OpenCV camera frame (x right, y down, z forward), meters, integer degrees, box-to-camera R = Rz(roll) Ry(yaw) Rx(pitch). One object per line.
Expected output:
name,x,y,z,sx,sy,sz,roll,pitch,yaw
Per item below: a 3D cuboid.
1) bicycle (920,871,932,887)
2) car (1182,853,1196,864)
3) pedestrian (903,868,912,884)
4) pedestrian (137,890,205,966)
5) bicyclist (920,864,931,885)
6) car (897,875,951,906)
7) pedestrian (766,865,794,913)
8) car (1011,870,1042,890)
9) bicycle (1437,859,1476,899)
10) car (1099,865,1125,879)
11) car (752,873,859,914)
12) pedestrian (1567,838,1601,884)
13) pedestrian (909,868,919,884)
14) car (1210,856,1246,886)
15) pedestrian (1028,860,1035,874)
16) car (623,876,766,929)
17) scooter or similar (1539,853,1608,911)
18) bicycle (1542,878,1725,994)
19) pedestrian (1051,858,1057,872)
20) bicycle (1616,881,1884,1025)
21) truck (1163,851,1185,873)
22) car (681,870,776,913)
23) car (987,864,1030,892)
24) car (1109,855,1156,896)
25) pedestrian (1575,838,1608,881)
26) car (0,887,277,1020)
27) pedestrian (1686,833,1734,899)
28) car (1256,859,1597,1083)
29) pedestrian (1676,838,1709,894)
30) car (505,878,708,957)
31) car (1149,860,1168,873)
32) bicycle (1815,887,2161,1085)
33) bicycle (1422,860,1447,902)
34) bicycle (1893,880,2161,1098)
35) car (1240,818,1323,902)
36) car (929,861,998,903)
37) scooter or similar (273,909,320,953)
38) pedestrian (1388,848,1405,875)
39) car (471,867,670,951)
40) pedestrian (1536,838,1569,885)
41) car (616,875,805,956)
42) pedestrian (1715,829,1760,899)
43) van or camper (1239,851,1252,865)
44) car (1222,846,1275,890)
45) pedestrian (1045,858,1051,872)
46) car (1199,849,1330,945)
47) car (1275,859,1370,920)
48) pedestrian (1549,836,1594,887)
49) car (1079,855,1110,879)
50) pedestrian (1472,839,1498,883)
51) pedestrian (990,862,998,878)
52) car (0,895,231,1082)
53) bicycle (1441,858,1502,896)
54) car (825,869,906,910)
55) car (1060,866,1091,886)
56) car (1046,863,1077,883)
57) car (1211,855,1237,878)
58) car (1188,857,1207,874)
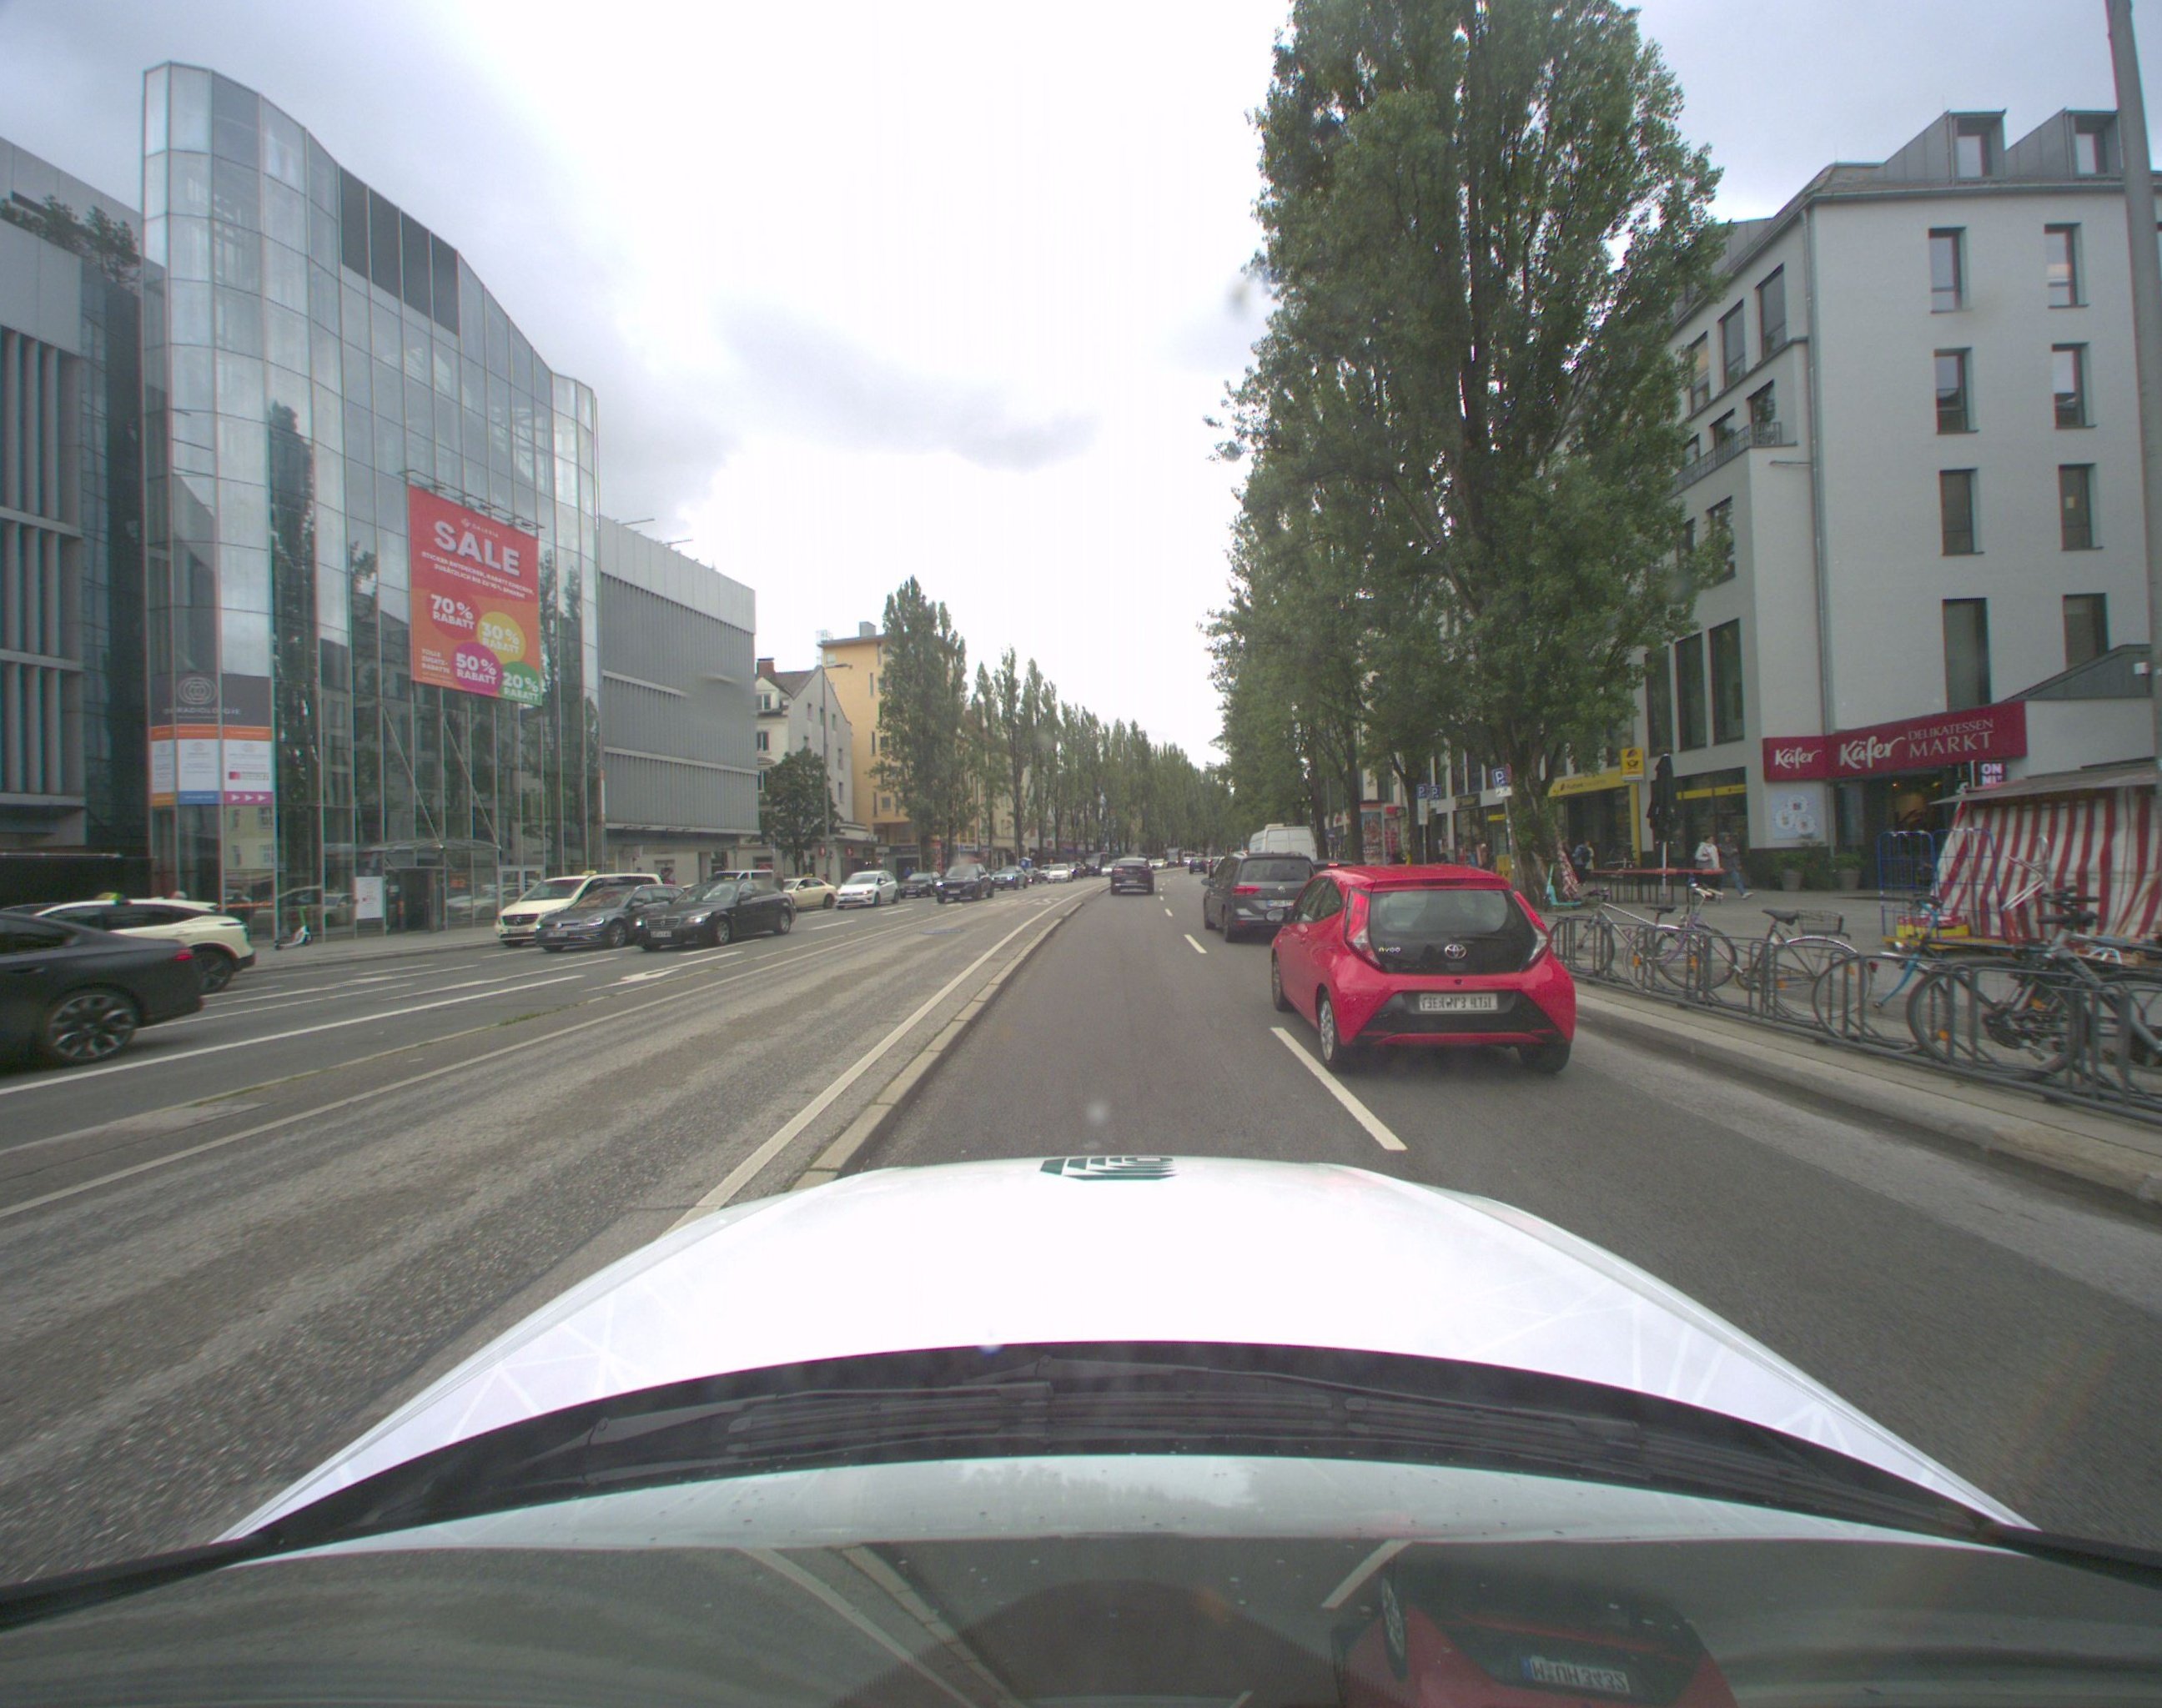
bicycle,-11.649,1.859,61.097,0.365,1.201,1.158,-3,-1,16
car,18.981,0.768,143.045,1.847,1.711,4.554,-4,-1,15
pedestrian,-15.879,2.022,74.576,0.630,1.435,0.778,-2,-1,1
pedestrian,-22.902,1.852,20.501,0.783,1.805,0.821,-3,-1,14
bicyclist,-11.660,1.531,61.105,0.498,1.592,0.838,-3,-1,15
car,-8.589,1.971,44.922,1.721,1.409,4.693,-3,0,4
pedestrian,-11.966,1.381,32.401,0.785,1.867,0.844,-2,-1,-8
car,-4.579,2.189,68.863,1.774,1.466,4.008,-3,-1,7
bicycle,11.287,0.730,24.511,0.475,1.160,1.634,-2,0,3
car,3.356,1.932,87.852,1.786,1.394,4.709,-3,-1,15
car,-12.036,1.685,35.994,1.842,1.469,5.003,-5,-1,16
pedestrian,17.785,0.246,28.811,0.688,1.585,0.773,-2,-1,2
pedestrian,-15.264,2.014,74.528,0.630,1.435,0.778,-2,-1,1
car,8.641,0.986,48.081,1.718,1.686,4.415,-1,-1,6
pedestrian,-6.422,1.690,105.016,0.633,1.700,0.650,-3,-1,15
car,-13.808,1.675,29.513,1.965,1.552,5.101,-3,-1,11
scooter or similar,11.036,0.613,18.251,1.468,1.207,0.398,-3,-1,-16
bicycle,5.921,0.834,8.780,1.556,1.054,0.550,2,1,40
pedestrian,-3.698,1.545,113.023,0.633,1.862,0.650,-3,-1,15
bicycle,5.917,0.819,7.313,1.779,1.054,0.550,2,1,40
truck,14.950,1.239,130.243,2.274,3.323,7.185,-3,-1,15
car,-18.701,1.941,43.522,1.981,2.013,5.128,-3,0,11
car,-4.507,1.492,51.219,1.808,1.545,4.006,-4,-1,5
car,2.379,0.934,36.741,1.871,1.642,4.589,-3,-1,5
pedestrian,18.923,0.190,30.210,0.759,1.535,0.711,-3,-1,12
car,-15.548,1.485,12.341,1.872,1.698,4.398,-4,-1,13
pedestrian,15.556,0.299,20.151,0.638,1.583,0.636,-3,-1,10
car,2.629,0.800,7.116,1.657,1.446,3.600,-1,-1,4
pedestrian,16.590,0.323,22.098,0.641,1.476,0.764,-2,-2,40
car,-11.662,1.491,20.533,1.951,1.546,4.951,-3,-1,3
car,11.128,1.753,116.560,1.980,1.589,5.213,-4,-1,12
bicycle,5.948,0.796,5.244,1.779,1.054,0.369,2,1,40
bicycle,10.359,0.778,23.880,0.473,1.160,1.834,-2,0,19
bicycle,5.900,0.752,4.613,1.779,1.105,0.550,2,1,40
car,7.171,0.240,29.721,1.985,2.742,5.560,-1,-1,4
car,-5.119,1.189,36.040,1.984,1.621,4.419,-4,-1,5
scooter or similar,-22.744,2.216,23.642,0.367,1.140,1.373,-2,-1,-17
pedestrian,18.891,0.448,48.764,0.565,1.576,0.672,-2,-1,-21
car,-14.497,1.462,23.611,1.984,2.014,5.329,-3,-1,5
pedestrian,17.184,0.270,29.672,0.688,1.649,0.798,-2,-1,2
car,-8.409,1.319,19.074,1.827,1.487,4.742,-3,0,5
pedestrian,16.278,0.245,20.192,0.576,1.701,0.598,-3,-1,10
van or camper,31.368,0.740,155.508,2.019,2.476,4.015,-2,-2,15
car,7.342,0.584,36.119,1.919,1.805,4.788,-1,-1,7
pedestrian,-4.575,1.560,113.078,0.633,1.862,0.650,-3,-1,15
car,3.456,0.751,16.096,1.754,1.614,4.186,-1,-1,2
car,6.243,0.850,21.479,1.716,1.454,4.154,0,0,6
pedestrian,16.400,0.255,27.248,0.798,1.637,1.022,-2,-1,-5
car,1.634,1.462,93.172,2.154,2.605,6.086,-3,-1,14
pedestrian,16.377,0.290,32.988,0.712,1.724,0.744,-4,-1,39
pedestrian,-9.768,1.809,91.537,0.535,1.747,0.758,-2,-1,15
car,-10.243,1.227,6.214,1.984,1.508,5.027,-3,0,4
bicycle,12.255,0.718,25.613,1.616,1.160,0.708,-2,-1,15
car,-9.452,1.514,36.081,1.983,1.600,4.297,-3,-1,6
car,-0.491,2.147,80.600,2.005,1.716,4.997,-3,-1,11
car,-1.606,1.587,68.772,1.942,1.589,4.010,-3,-1,9
car,11.280,1.015,63.959,1.912,1.700,4.664,-1,-1,11
car,11.773,1.188,82.160,1.748,1.619,3.757,-1,-1,10
